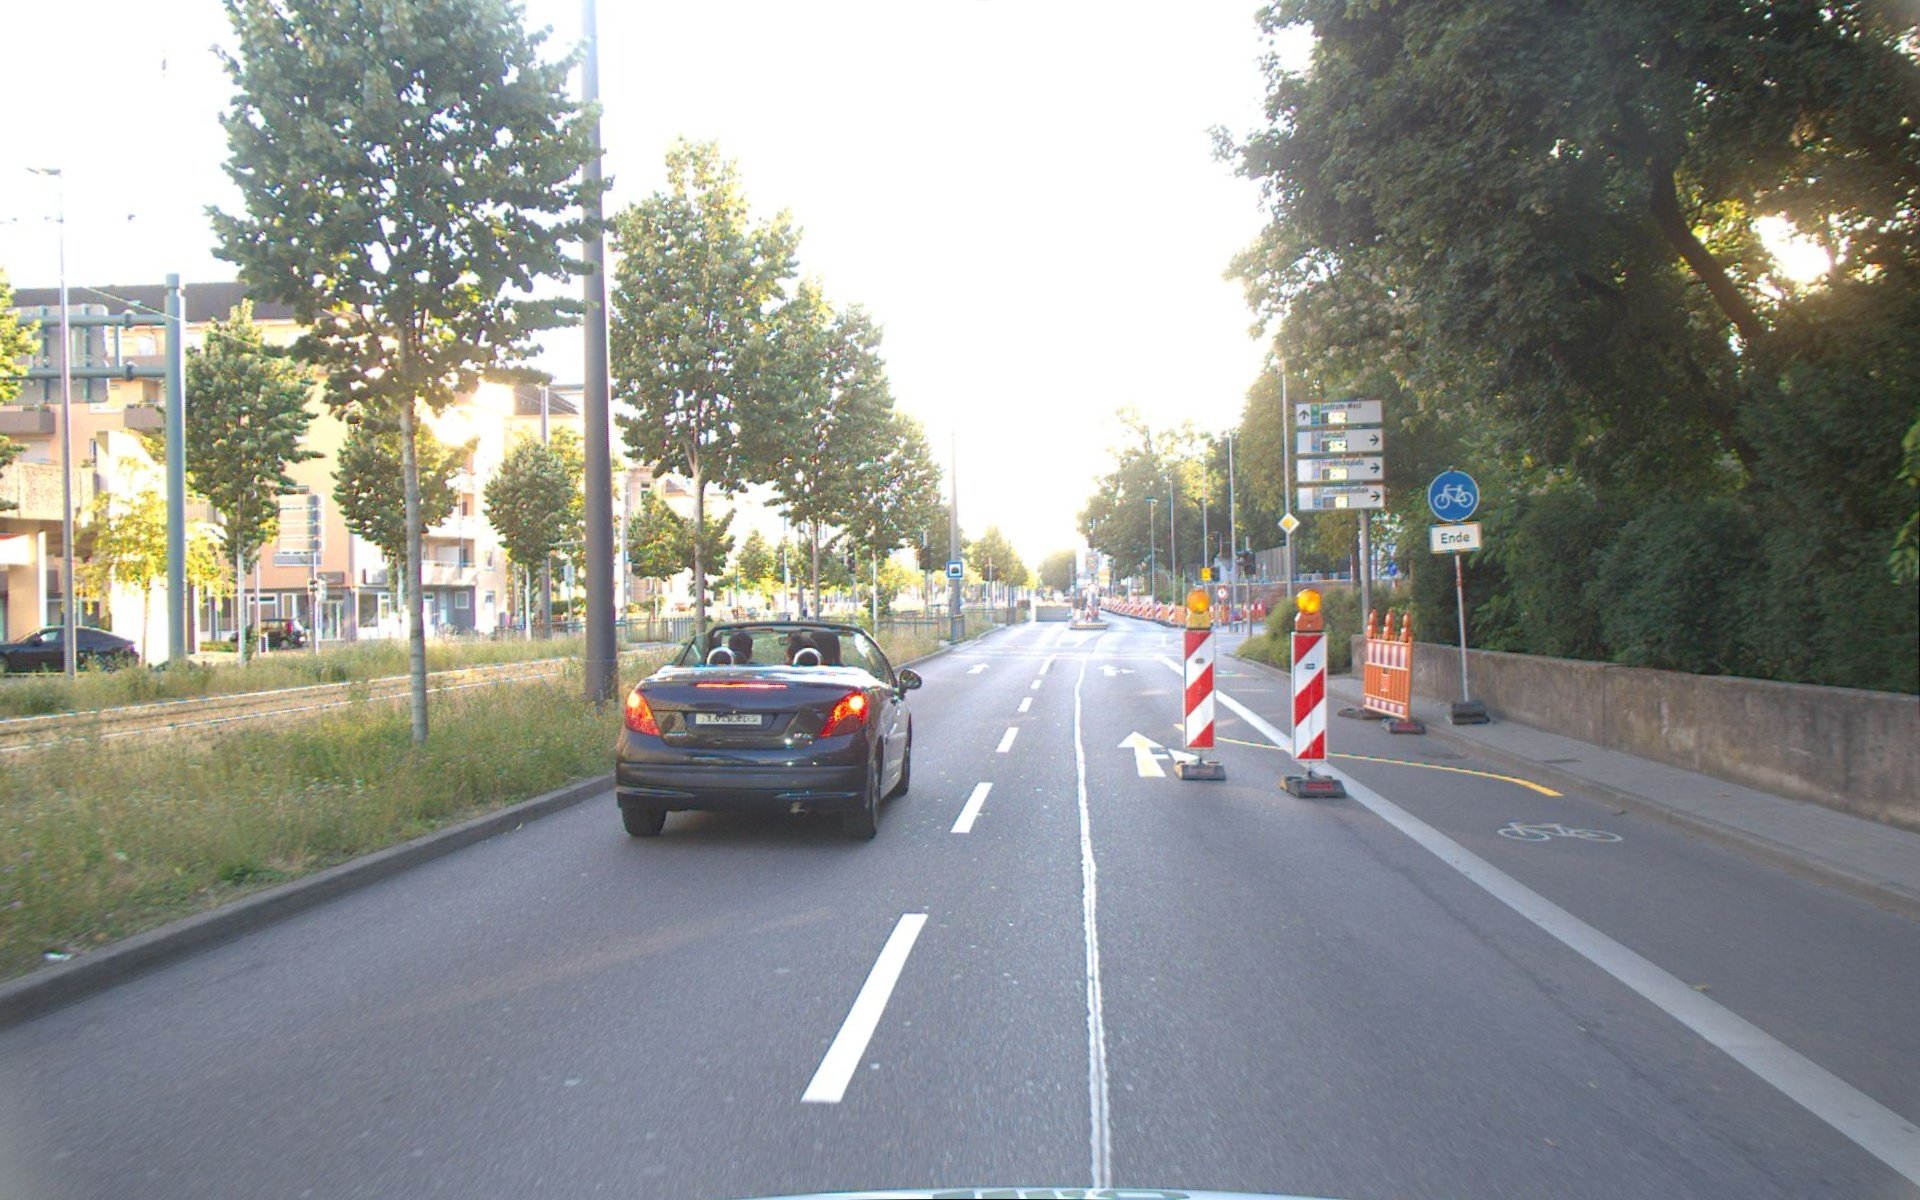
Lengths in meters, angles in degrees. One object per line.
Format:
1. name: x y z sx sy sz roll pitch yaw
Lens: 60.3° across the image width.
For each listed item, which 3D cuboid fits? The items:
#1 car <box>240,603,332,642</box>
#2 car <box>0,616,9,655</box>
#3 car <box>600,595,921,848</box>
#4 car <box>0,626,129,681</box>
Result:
1. car: -35.211 1.173 86.516 3.851 1.878 2.192 -2 0 3
2. car: -52.129 1.905 85.757 4.393 2.024 2.167 -1 0 3
3. car: -1.251 0.724 11.909 1.683 1.475 3.902 1 1 2
4. car: -27.020 1.583 49.366 3.693 1.475 1.720 -1 -1 -38
